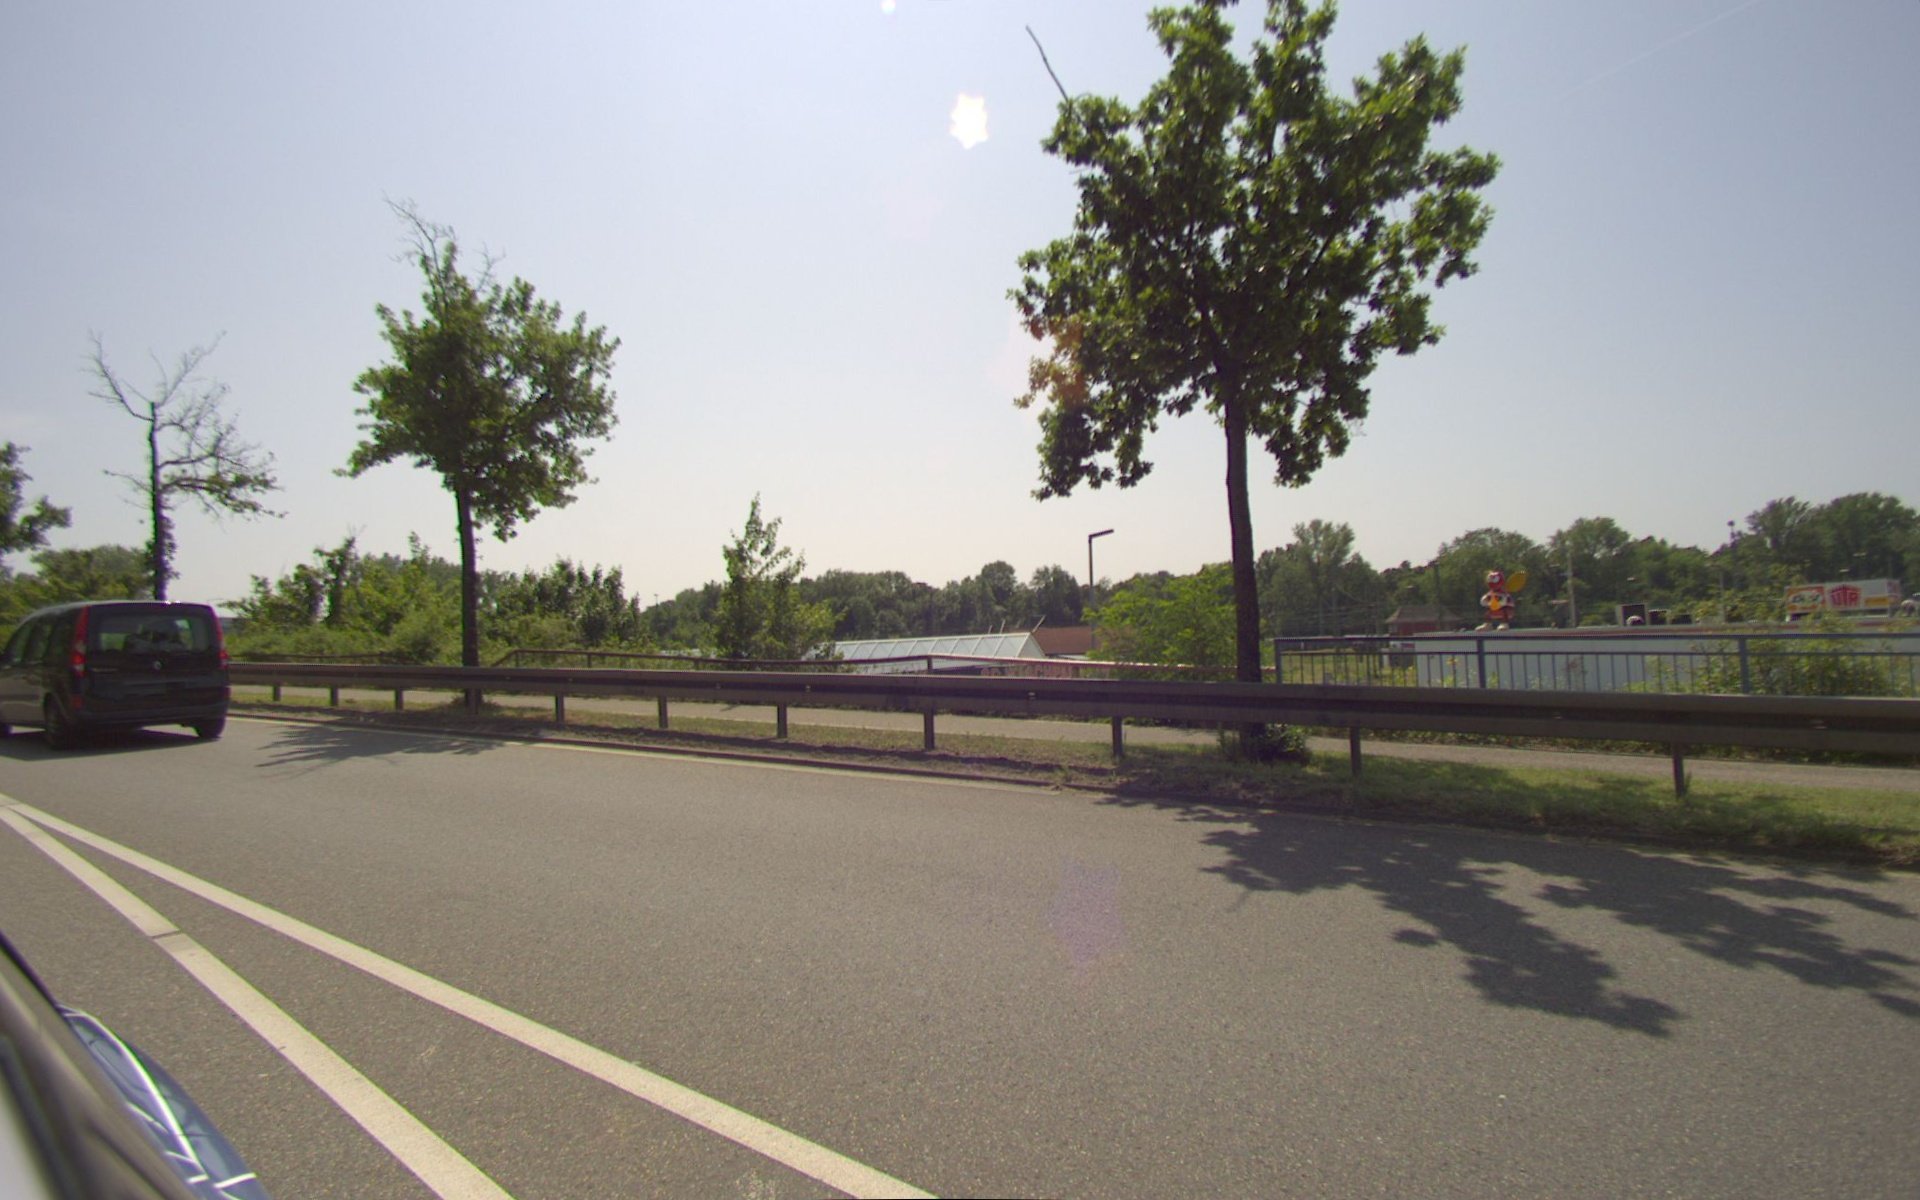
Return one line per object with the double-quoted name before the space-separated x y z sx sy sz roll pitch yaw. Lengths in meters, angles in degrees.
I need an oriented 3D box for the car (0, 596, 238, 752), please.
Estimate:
"car" -11.521 0.888 13.443 4.240 1.772 1.792 -2 -1 34
